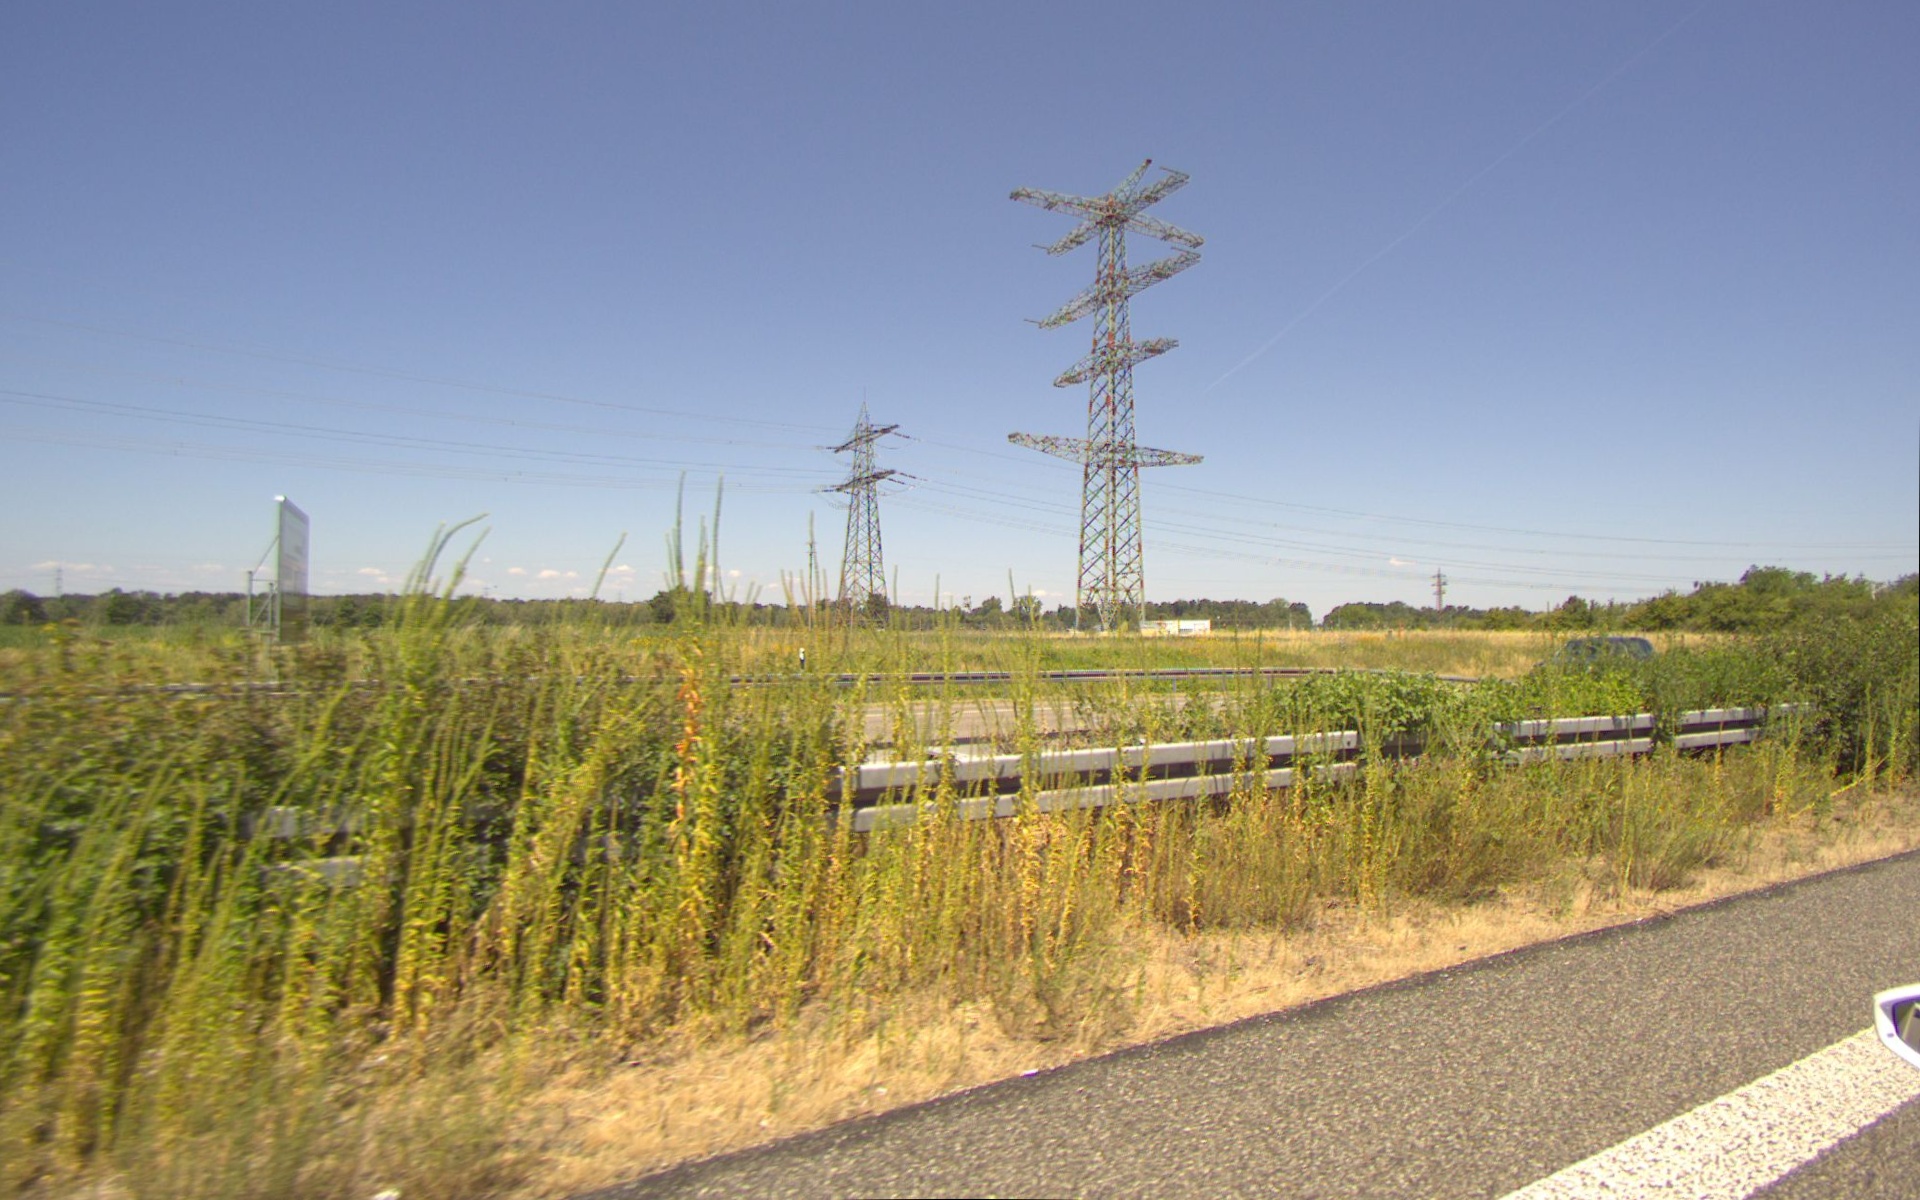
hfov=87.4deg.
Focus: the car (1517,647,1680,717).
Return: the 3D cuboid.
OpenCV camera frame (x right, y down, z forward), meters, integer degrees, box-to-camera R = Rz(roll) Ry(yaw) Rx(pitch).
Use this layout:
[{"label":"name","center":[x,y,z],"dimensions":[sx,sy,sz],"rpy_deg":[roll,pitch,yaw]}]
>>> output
[{"label":"car","center":[17.109,2.129,26.864],"dimensions":[4.505,1.676,1.853],"rpy_deg":[1,-1,-30]}]
